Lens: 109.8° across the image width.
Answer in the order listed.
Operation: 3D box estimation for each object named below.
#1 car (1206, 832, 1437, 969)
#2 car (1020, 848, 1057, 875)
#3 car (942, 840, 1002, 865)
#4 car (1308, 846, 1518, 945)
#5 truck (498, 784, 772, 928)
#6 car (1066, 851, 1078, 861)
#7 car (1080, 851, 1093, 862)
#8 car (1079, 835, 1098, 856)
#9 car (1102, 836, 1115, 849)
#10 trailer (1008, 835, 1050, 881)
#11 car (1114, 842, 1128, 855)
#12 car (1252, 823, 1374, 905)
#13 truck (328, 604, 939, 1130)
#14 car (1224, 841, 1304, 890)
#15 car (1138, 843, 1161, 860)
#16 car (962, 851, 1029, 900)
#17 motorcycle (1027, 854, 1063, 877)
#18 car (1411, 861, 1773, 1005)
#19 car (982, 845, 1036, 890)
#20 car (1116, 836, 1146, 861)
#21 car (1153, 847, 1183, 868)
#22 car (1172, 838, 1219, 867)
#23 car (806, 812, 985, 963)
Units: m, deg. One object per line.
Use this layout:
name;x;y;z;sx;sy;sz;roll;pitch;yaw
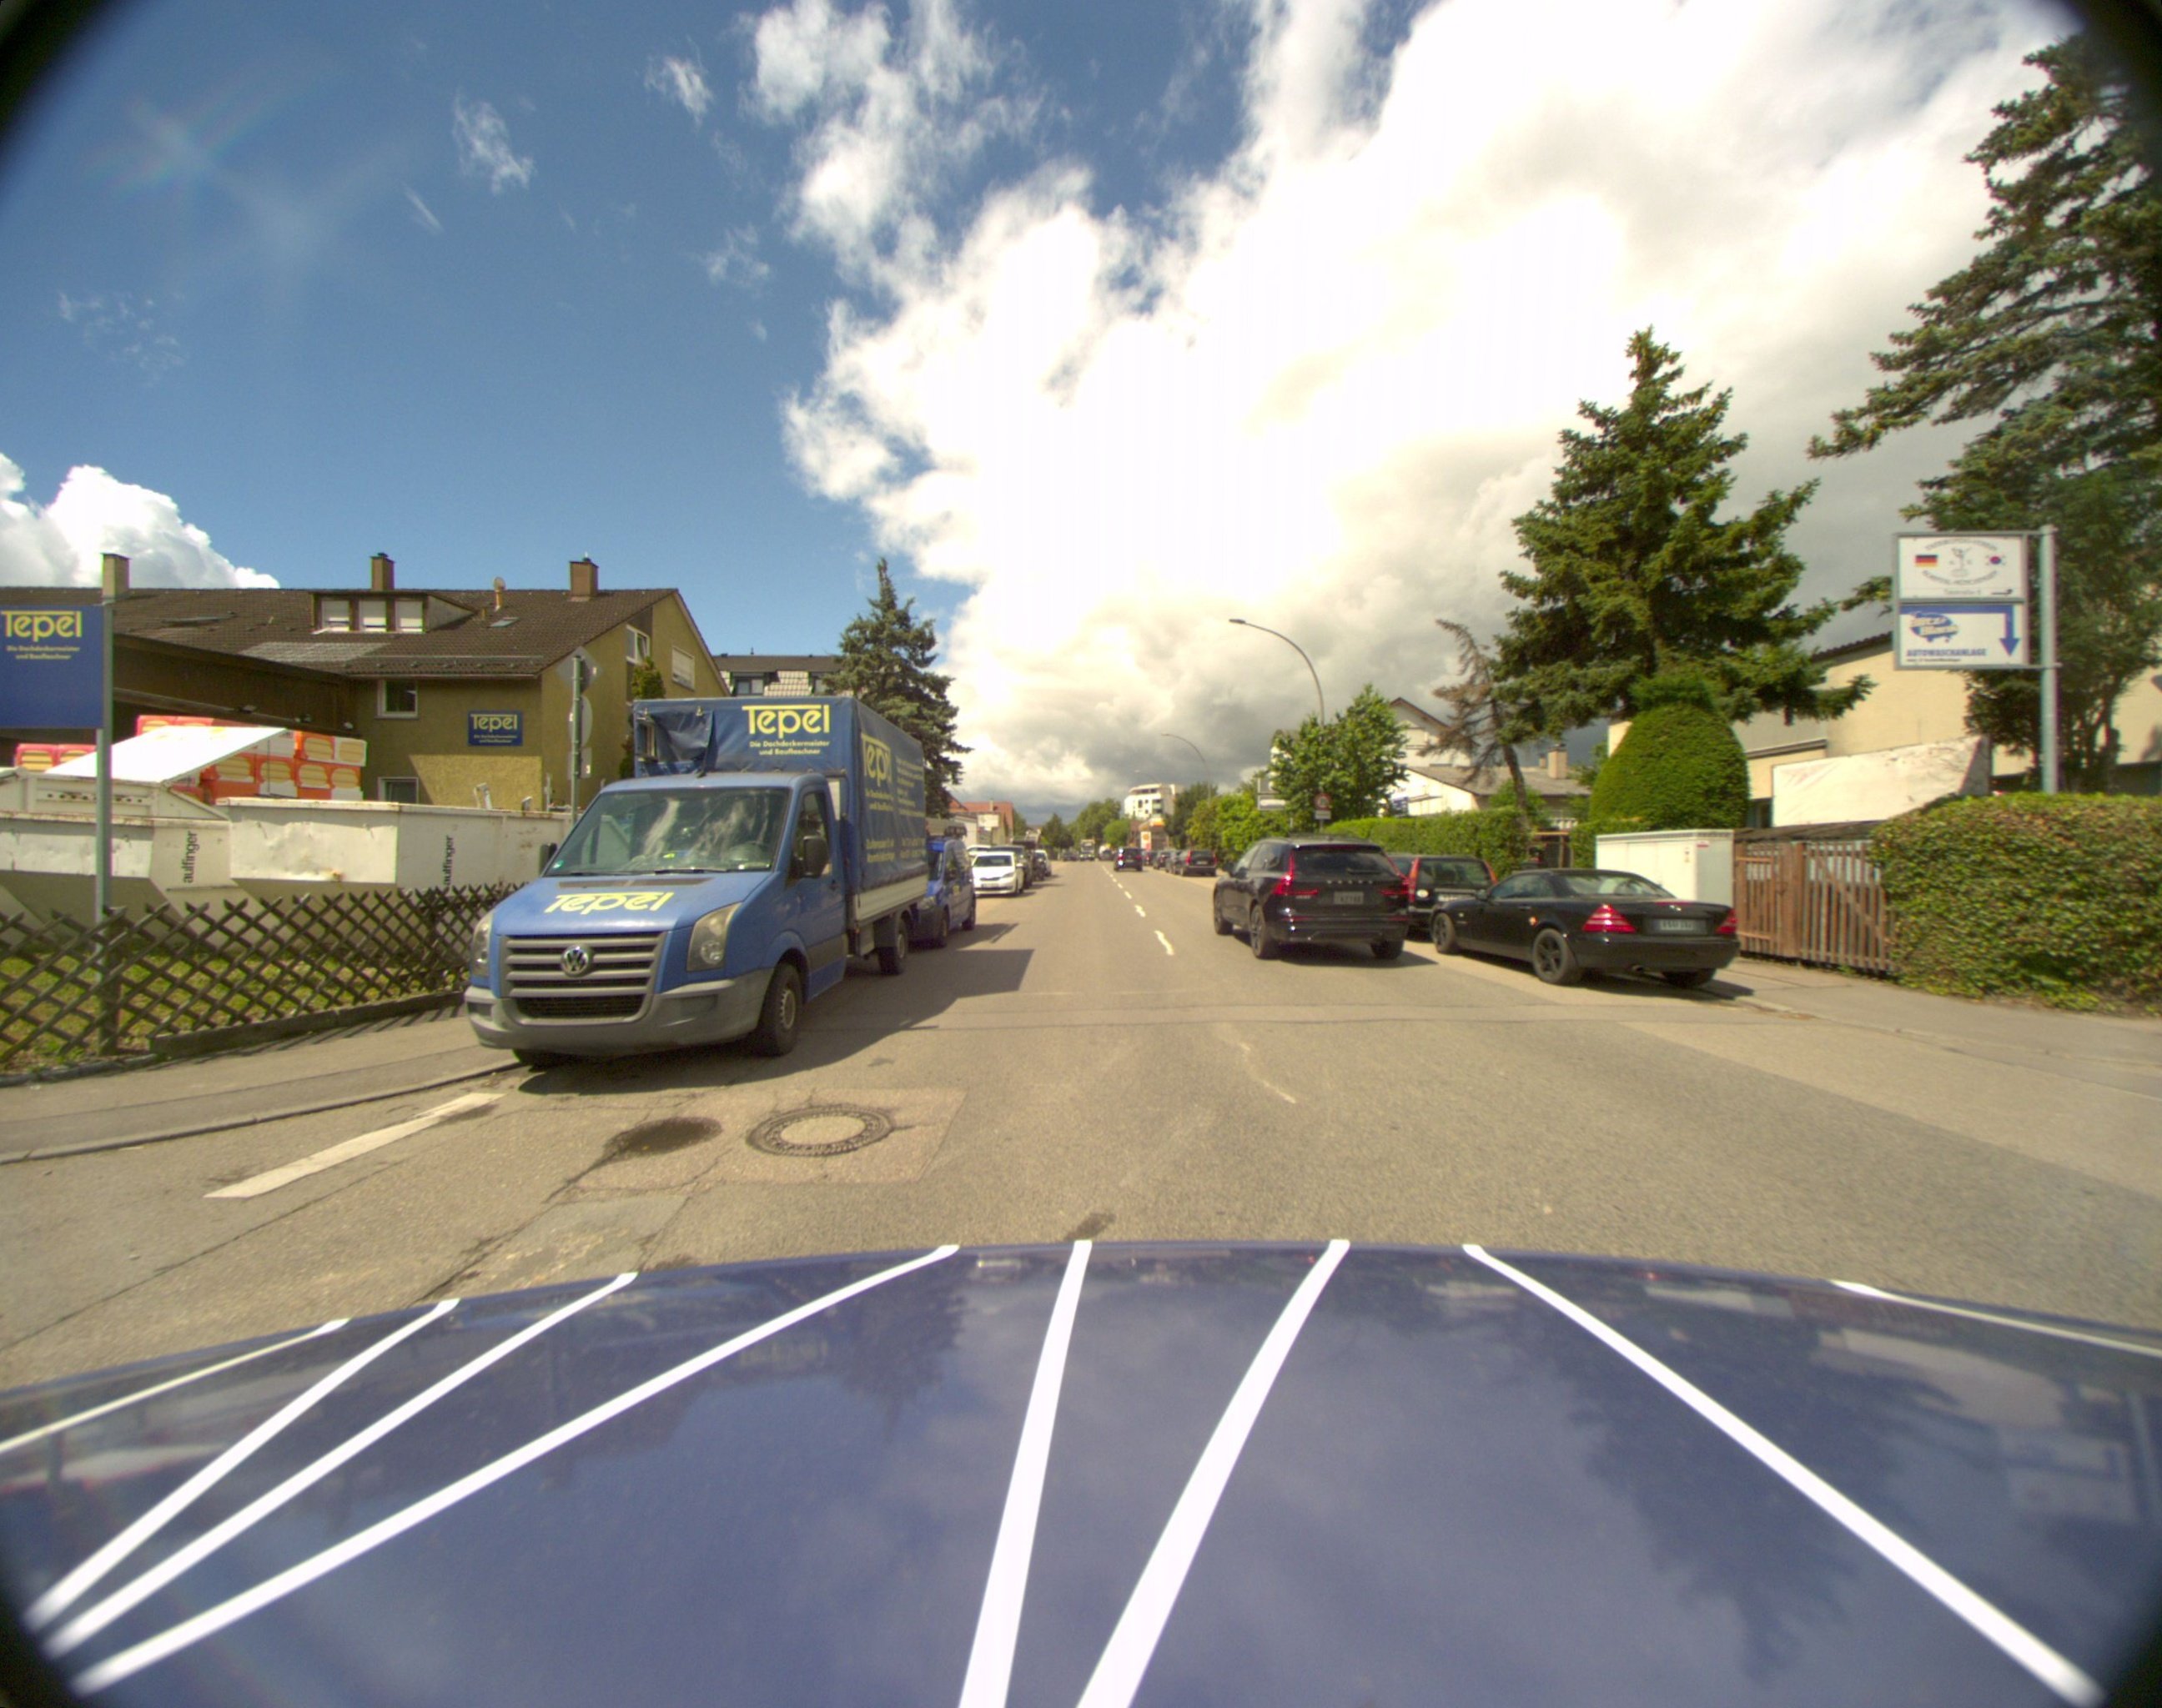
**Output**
car;3.241;0.550;11.282;1.998;1.606;4.410;1;0;0
car;-2.416;0.413;44.017;1.723;1.424;3.984;1;0;3
car;-8.221;-0.105;57.581;4.202;1.644;1.867;3;0;0
car;5.859;0.641;14.140;1.748;1.464;4.643;3;0;-1
truck;-7.766;0.075;14.064;1.834;2.069;5.386;3;-1;0
car;-1.389;0.374;122.878;1.789;1.548;4.316;-1;0;1
car;0.873;0.393;118.584;1.891;1.708;3.999;1;1;-1
car;1.290;-1.513;140.285;3.263;3.596;10.269;-2;0;-1
car;4.149;-1.712;114.623;1.667;1.785;4.338;1;0;-1
trailer;-2.505;0.193;37.198;1.777;2.132;4.113;0;0;0
car;5.940;-0.785;112.602;1.733;1.727;4.190;3;0;0
car;5.895;0.233;19.893;1.748;1.827;4.355;3;0;-1
truck;-3.258;0.075;7.598;2.326;3.079;6.042;-2;0;1
car;6.086;0.352;25.701;1.644;1.478;3.999;3;0;-1
car;6.179;-0.226;68.975;1.667;1.427;4.338;2;0;0
car;-2.793;0.664;25.549;1.777;1.499;4.000;0;0;0
motorcycle;-1.956;0.600;40.950;1.826;1.203;0.715;0;0;-35
car;5.933;0.801;9.547;1.635;1.296;4.116;3;0;-2
car;-2.861;0.497;31.060;1.878;1.717;4.712;0;0;-1
car;3.328;-0.348;51.248;1.748;1.618;4.355;-1;0;0
car;6.294;0.233;55.186;1.667;1.406;4.338;1;0;0
car;6.189;-0.062;41.590;1.724;1.484;4.735;1;0;-1
car;-3.002;0.480;13.370;1.878;2.156;4.464;-2;0;1
